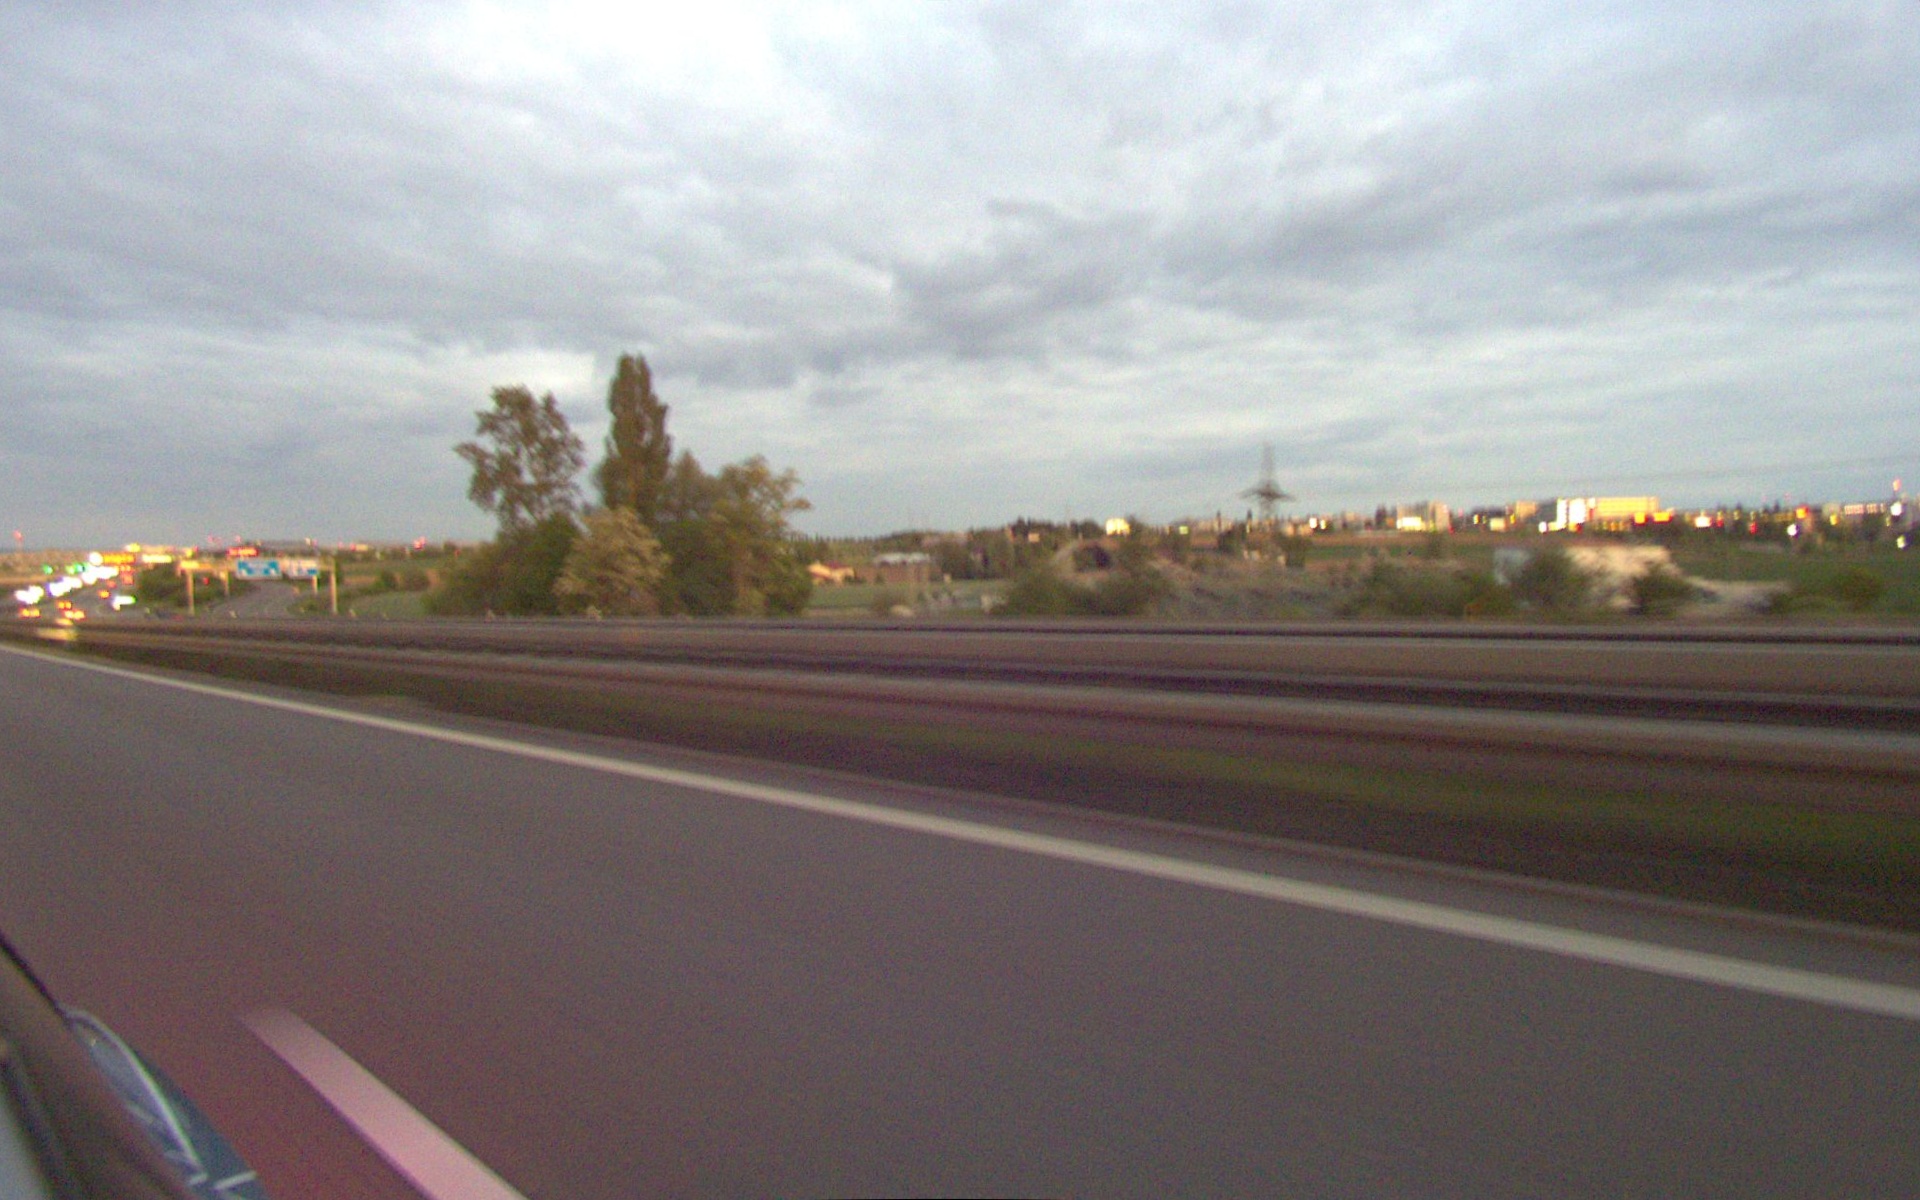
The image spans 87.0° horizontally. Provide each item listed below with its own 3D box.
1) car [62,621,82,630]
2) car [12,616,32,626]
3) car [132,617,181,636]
[{"bbox_3d":[-125.067,3.631,142.490,4.184,1.236,1.702,-1,-1,44],"label":"car"},{"bbox_3d":[-149.782,3.368,161.538,4.328,1.414,1.972,-1,-1,42],"label":"car"},{"bbox_3d":[-62.267,2.017,78.398,4.793,1.414,1.974,-1,-1,39],"label":"car"}]
